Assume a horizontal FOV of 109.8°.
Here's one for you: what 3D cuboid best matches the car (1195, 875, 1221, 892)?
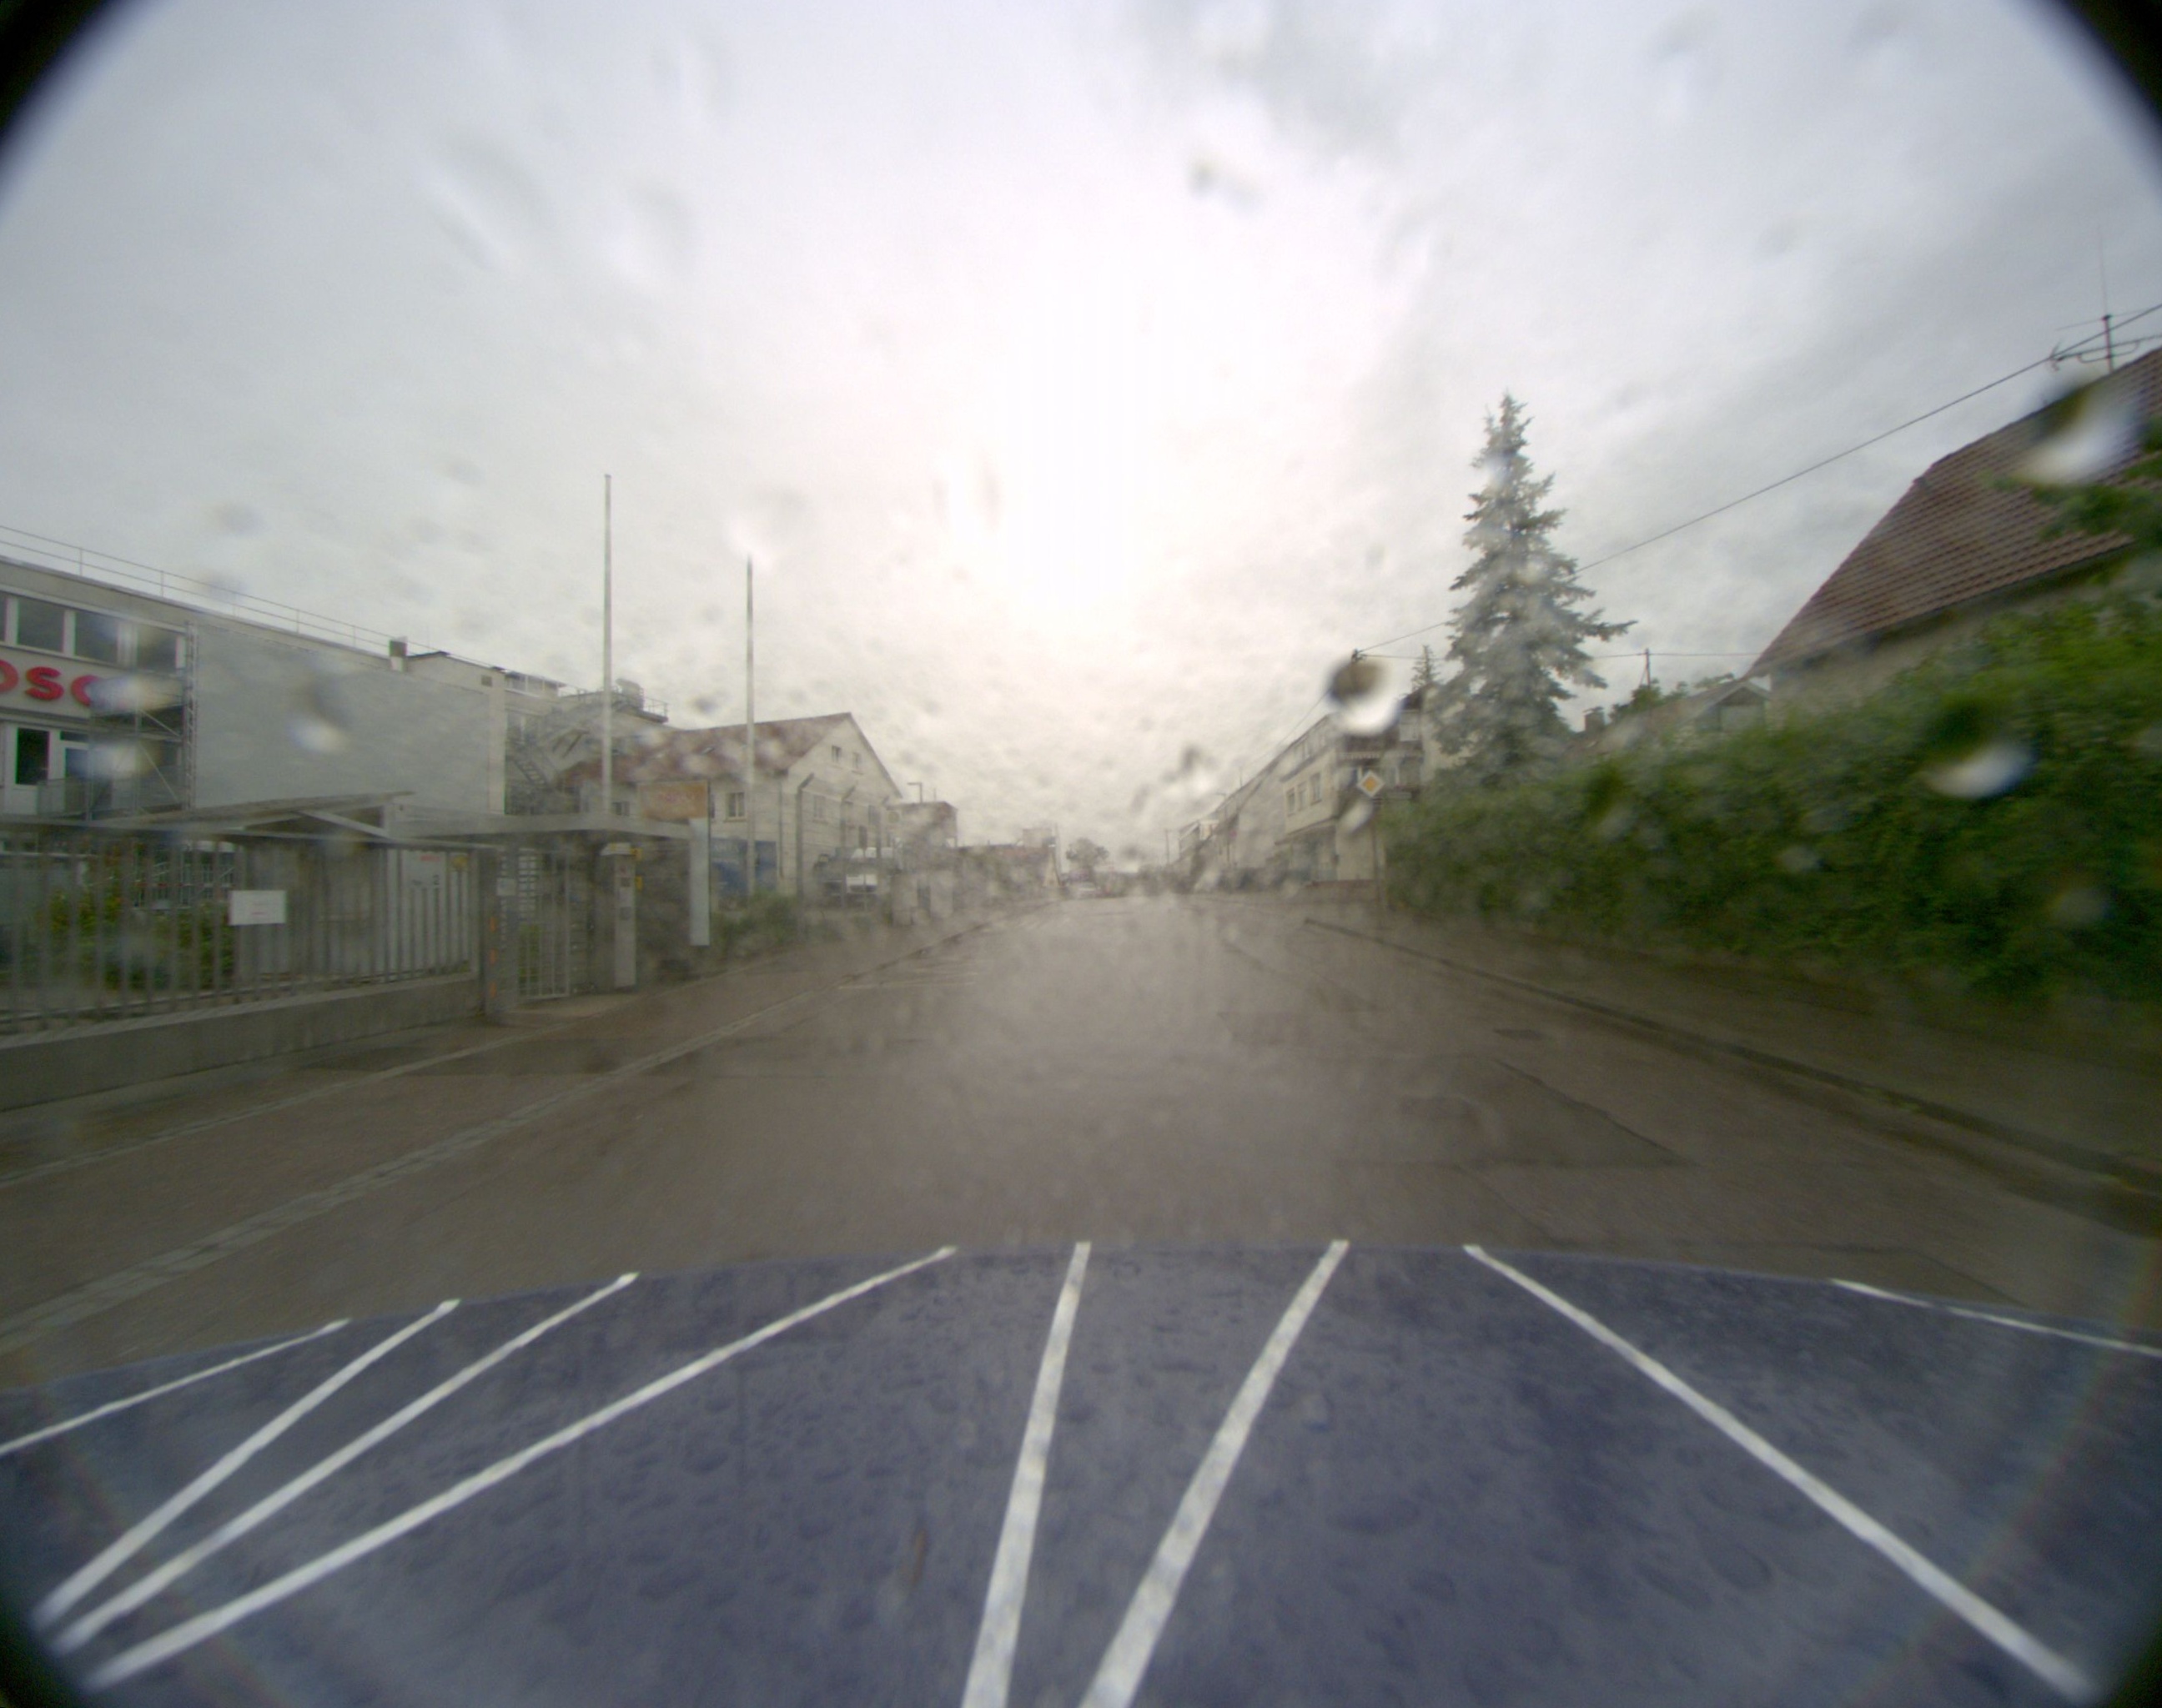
[{"bbox_3d":[12.033,2.771,72.286,1.897,1.523,4.001,-1,-1,1],"label":"car"}]

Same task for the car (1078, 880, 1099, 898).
[{"bbox_3d":[0.749,3.228,71.136,1.897,1.537,4.001,-1,-1,1],"label":"car"}]

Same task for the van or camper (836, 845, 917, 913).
[{"bbox_3d":[-8.172,0.949,30.914,2.090,2.480,5.803,-1,-1,-4],"label":"van or camper"}]

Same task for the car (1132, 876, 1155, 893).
[{"bbox_3d":[5.909,2.888,72.410,1.897,1.523,4.001,-1,-1,1],"label":"car"}]

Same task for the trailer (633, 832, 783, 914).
[{"bbox_3d":[-14.634,0.673,30.162,2.631,2.874,4.637,-4,0,19],"label":"trailer"}]

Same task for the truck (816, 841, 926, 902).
[{"bbox_3d":[-11.039,0.888,40.846,2.323,2.951,7.140,-1,-1,15],"label":"truck"}]

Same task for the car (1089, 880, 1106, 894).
[{"bbox_3d":[1.933,3.856,88.543,1.897,1.470,4.001,-1,-1,1],"label":"car"}]
